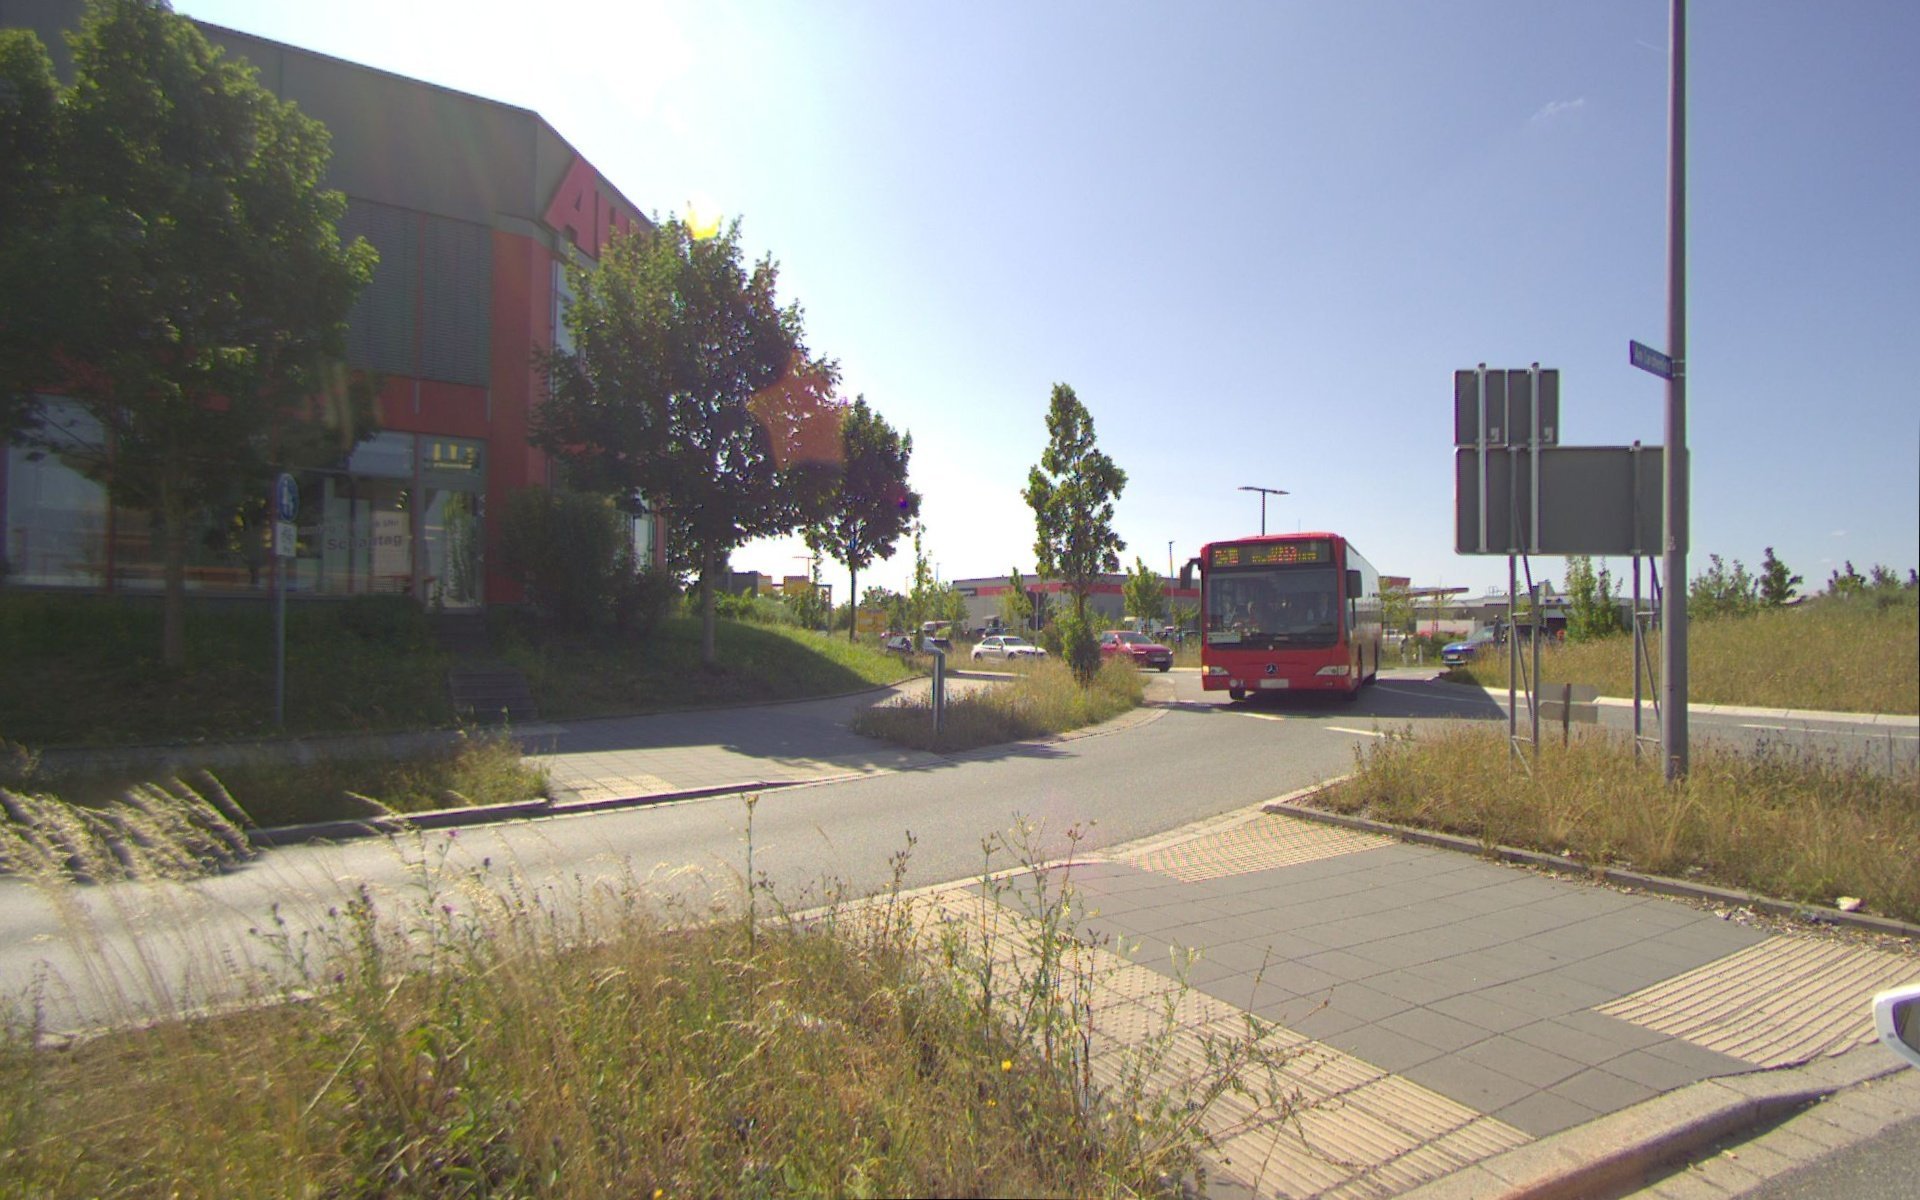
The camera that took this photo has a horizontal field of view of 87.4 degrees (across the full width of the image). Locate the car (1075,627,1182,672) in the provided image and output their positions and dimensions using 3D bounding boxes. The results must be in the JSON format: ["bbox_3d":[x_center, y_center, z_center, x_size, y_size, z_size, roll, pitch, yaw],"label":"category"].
[{"bbox_3d":[5.996,1.764,36.297,1.784,1.434,4.092,-3,-1,-25],"label":"car"}]

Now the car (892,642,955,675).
[{"bbox_3d":[-1.896,2.972,51.673,1.625,1.507,3.873,0,-1,-30],"label":"car"}]

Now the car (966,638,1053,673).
[{"bbox_3d":[2.147,2.430,44.733,1.777,1.434,4.346,0,-2,-31],"label":"car"}]

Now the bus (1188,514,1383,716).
[{"bbox_3d":[7.670,0.410,22.250,2.568,3.284,11.871,-2,-2,25],"label":"bus"}]

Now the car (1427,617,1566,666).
[{"bbox_3d":[19.159,1.490,35.968,4.003,1.657,1.856,-1,-2,-6],"label":"car"}]

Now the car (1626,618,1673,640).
[{"bbox_3d":[59.384,2.509,86.495,3.956,1.754,1.983,2,-2,-32],"label":"car"}]

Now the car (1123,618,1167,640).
[{"bbox_3d":[17.820,2.785,96.838,3.960,2.040,1.981,2,-2,-35],"label":"car"}]
